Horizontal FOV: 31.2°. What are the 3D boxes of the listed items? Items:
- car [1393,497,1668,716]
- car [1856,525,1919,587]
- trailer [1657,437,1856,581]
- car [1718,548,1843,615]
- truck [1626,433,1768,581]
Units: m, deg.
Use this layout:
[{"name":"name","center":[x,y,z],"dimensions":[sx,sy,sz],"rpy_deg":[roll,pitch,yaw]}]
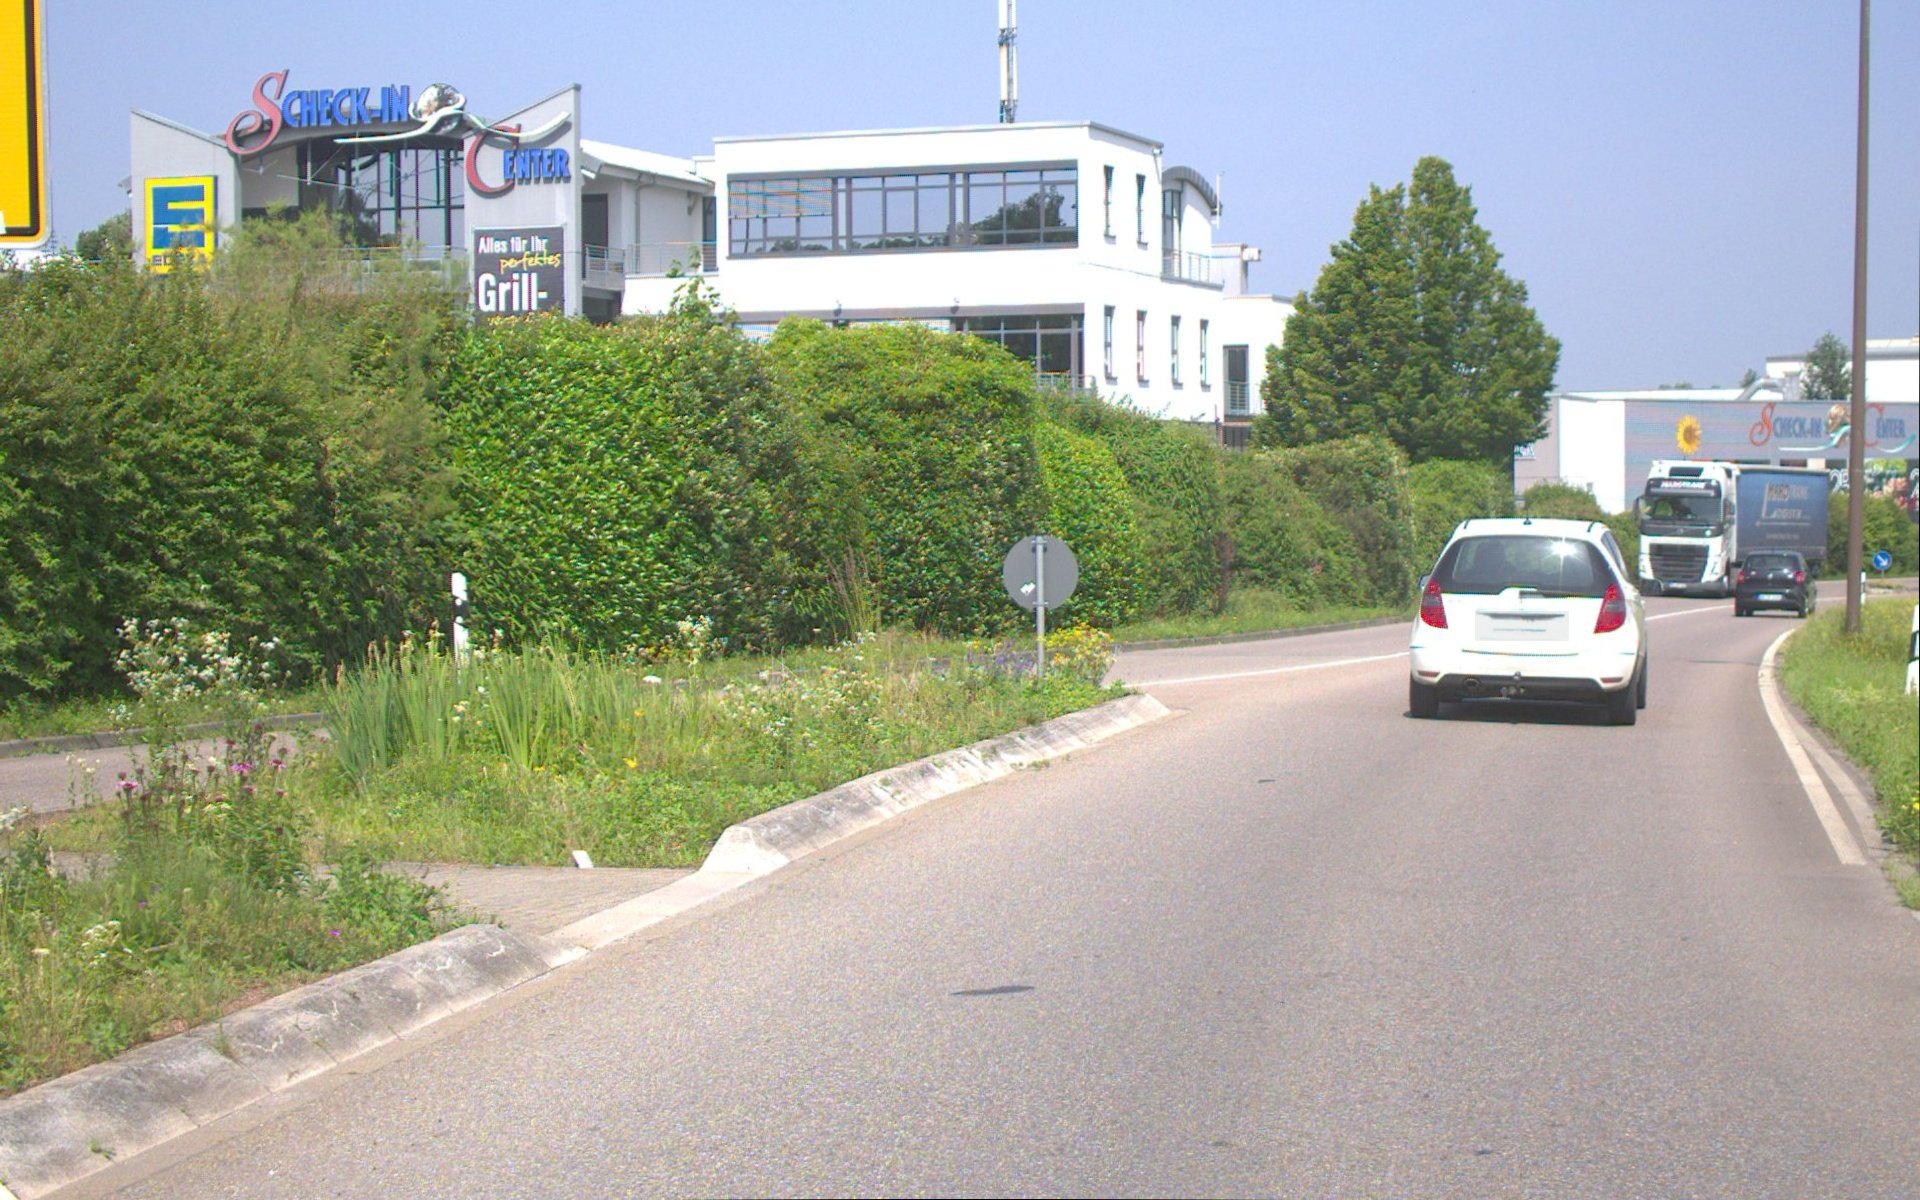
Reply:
[{"name":"car","center":[4.714,0.015,28.013],"dimensions":[1.782,1.598,3.890],"rpy_deg":[2,1,15]},{"name":"car","center":[31.882,-1.466,115.374],"dimensions":[1.998,2.007,3.991],"rpy_deg":[2,1,39]},{"name":"trailer","center":[25.415,-2.757,108.964],"dimensions":[2.674,4.226,14.544],"rpy_deg":[2,1,27]},{"name":"car","center":[18.879,-0.433,78.955],"dimensions":[1.831,1.465,4.404],"rpy_deg":[2,1,26]},{"name":"truck","center":[21.854,-2.692,101.775],"dimensions":[2.517,4.243,6.103],"rpy_deg":[0,0,28]}]
